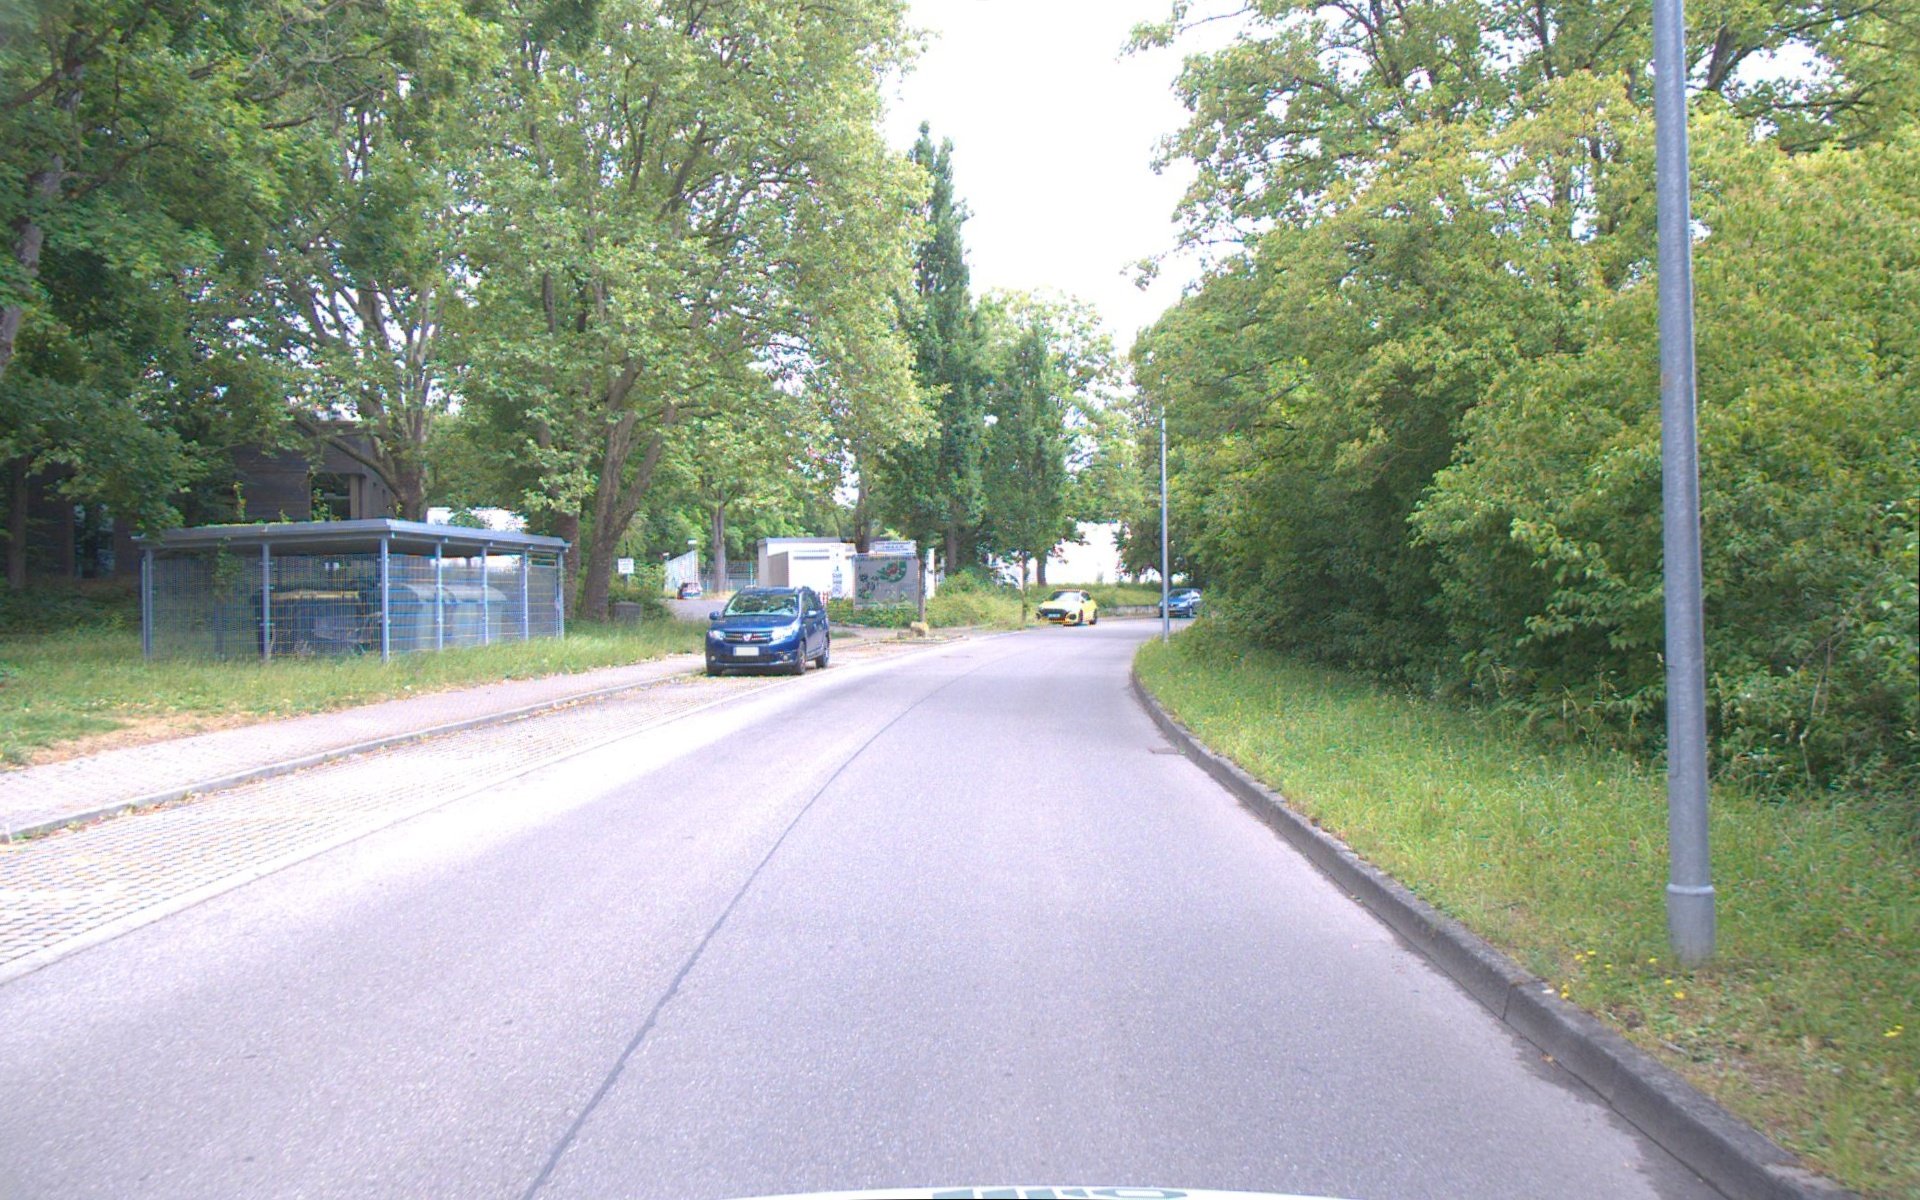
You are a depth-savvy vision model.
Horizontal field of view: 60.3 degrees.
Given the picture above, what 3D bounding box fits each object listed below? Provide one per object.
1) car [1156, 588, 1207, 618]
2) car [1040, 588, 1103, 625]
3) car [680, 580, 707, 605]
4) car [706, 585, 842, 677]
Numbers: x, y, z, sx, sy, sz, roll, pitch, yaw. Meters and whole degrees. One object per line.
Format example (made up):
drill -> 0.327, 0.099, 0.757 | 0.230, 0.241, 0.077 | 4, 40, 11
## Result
car -> 11.269, 0.126, 84.032 | 1.503, 1.484, 3.717 | 0, 0, 25
car -> 4.600, 0.255, 67.665 | 1.664, 1.427, 4.275 | 0, 0, 17
car -> -20.380, -0.582, 126.550 | 1.837, 1.777, 3.994 | -2, 1, -7
car -> -3.303, 0.521, 30.110 | 1.644, 1.538, 4.434 | -1, 0, 4
